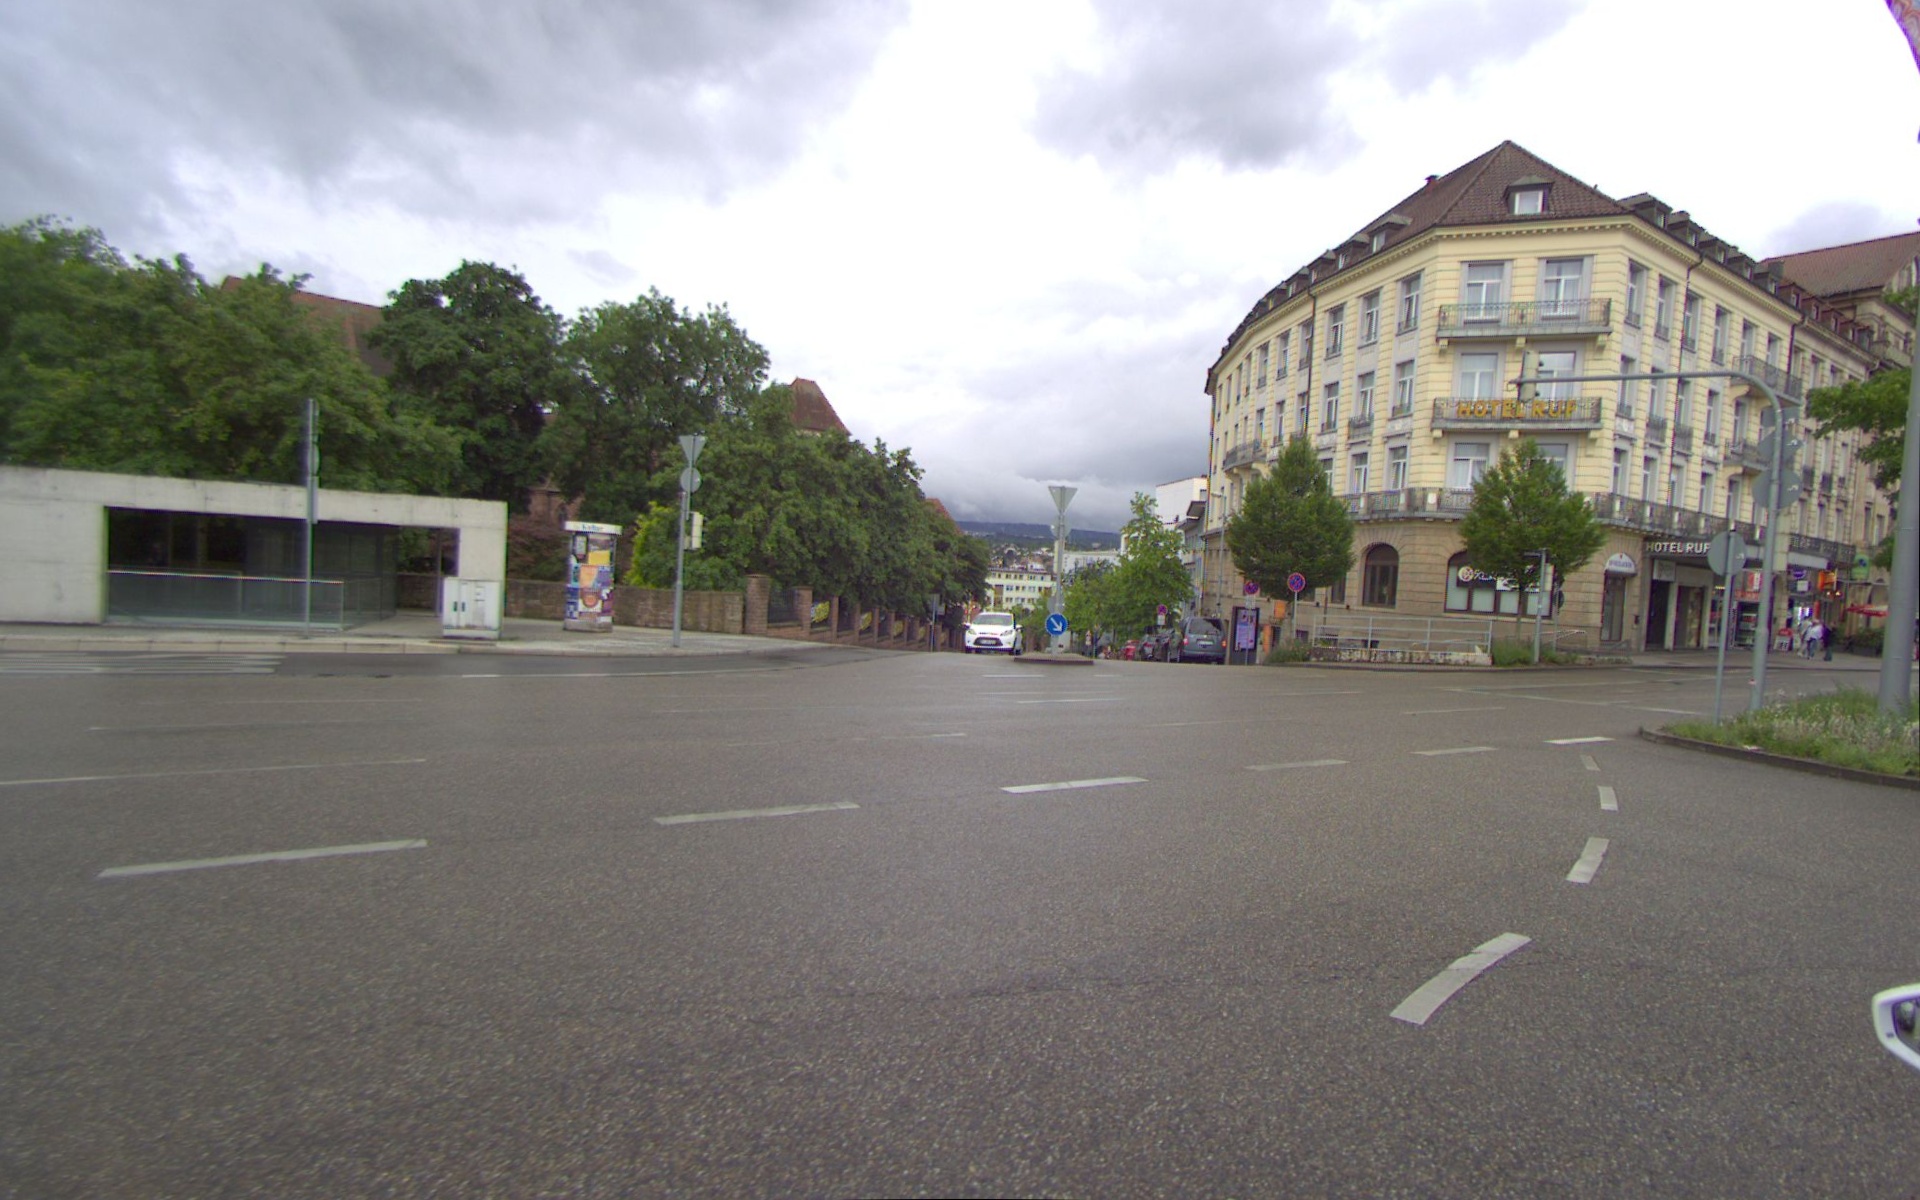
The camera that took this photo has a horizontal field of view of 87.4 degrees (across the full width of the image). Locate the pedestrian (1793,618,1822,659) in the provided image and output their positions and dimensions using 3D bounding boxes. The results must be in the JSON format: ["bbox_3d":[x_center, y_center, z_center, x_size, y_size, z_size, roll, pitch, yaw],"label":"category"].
[{"bbox_3d":[35.826,1.626,42.475,0.798,1.686,0.678,2,-1,-31],"label":"pedestrian"}]

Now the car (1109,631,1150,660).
[{"bbox_3d":[9.586,2.548,57.192,1.735,1.498,4.011,2,-1,2],"label":"car"}]

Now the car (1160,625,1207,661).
[{"bbox_3d":[10.098,1.901,45.625,1.602,1.417,4.002,2,0,6],"label":"car"}]

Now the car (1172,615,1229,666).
[{"bbox_3d":[9.326,1.533,39.204,1.602,1.782,4.002,2,0,6],"label":"car"}]

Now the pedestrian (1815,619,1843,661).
[{"bbox_3d":[36.224,1.661,41.887,0.799,1.686,0.677,2,-1,-34],"label":"pedestrian"}]

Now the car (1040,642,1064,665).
[{"bbox_3d":[7.788,4.545,85.243,1.960,1.706,4.002,2,-1,5],"label":"car"}]

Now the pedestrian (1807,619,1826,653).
[{"bbox_3d":[43.045,1.795,50.487,0.532,1.686,0.660,2,-1,-42],"label":"pedestrian"}]

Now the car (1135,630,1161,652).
[{"bbox_3d":[14.431,3.134,77.320,1.734,1.498,4.003,2,-1,8],"label":"car"}]

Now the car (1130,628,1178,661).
[{"bbox_3d":[9.804,2.214,50.988,1.735,1.498,4.001,2,-1,2],"label":"car"}]

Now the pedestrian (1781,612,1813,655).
[{"bbox_3d":[36.847,1.466,44.205,0.743,1.837,0.874,2,-1,-34],"label":"pedestrian"}]

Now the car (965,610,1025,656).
[{"bbox_3d":[1.252,1.099,34.166,1.602,1.416,4.003,2,-1,8],"label":"car"}]
